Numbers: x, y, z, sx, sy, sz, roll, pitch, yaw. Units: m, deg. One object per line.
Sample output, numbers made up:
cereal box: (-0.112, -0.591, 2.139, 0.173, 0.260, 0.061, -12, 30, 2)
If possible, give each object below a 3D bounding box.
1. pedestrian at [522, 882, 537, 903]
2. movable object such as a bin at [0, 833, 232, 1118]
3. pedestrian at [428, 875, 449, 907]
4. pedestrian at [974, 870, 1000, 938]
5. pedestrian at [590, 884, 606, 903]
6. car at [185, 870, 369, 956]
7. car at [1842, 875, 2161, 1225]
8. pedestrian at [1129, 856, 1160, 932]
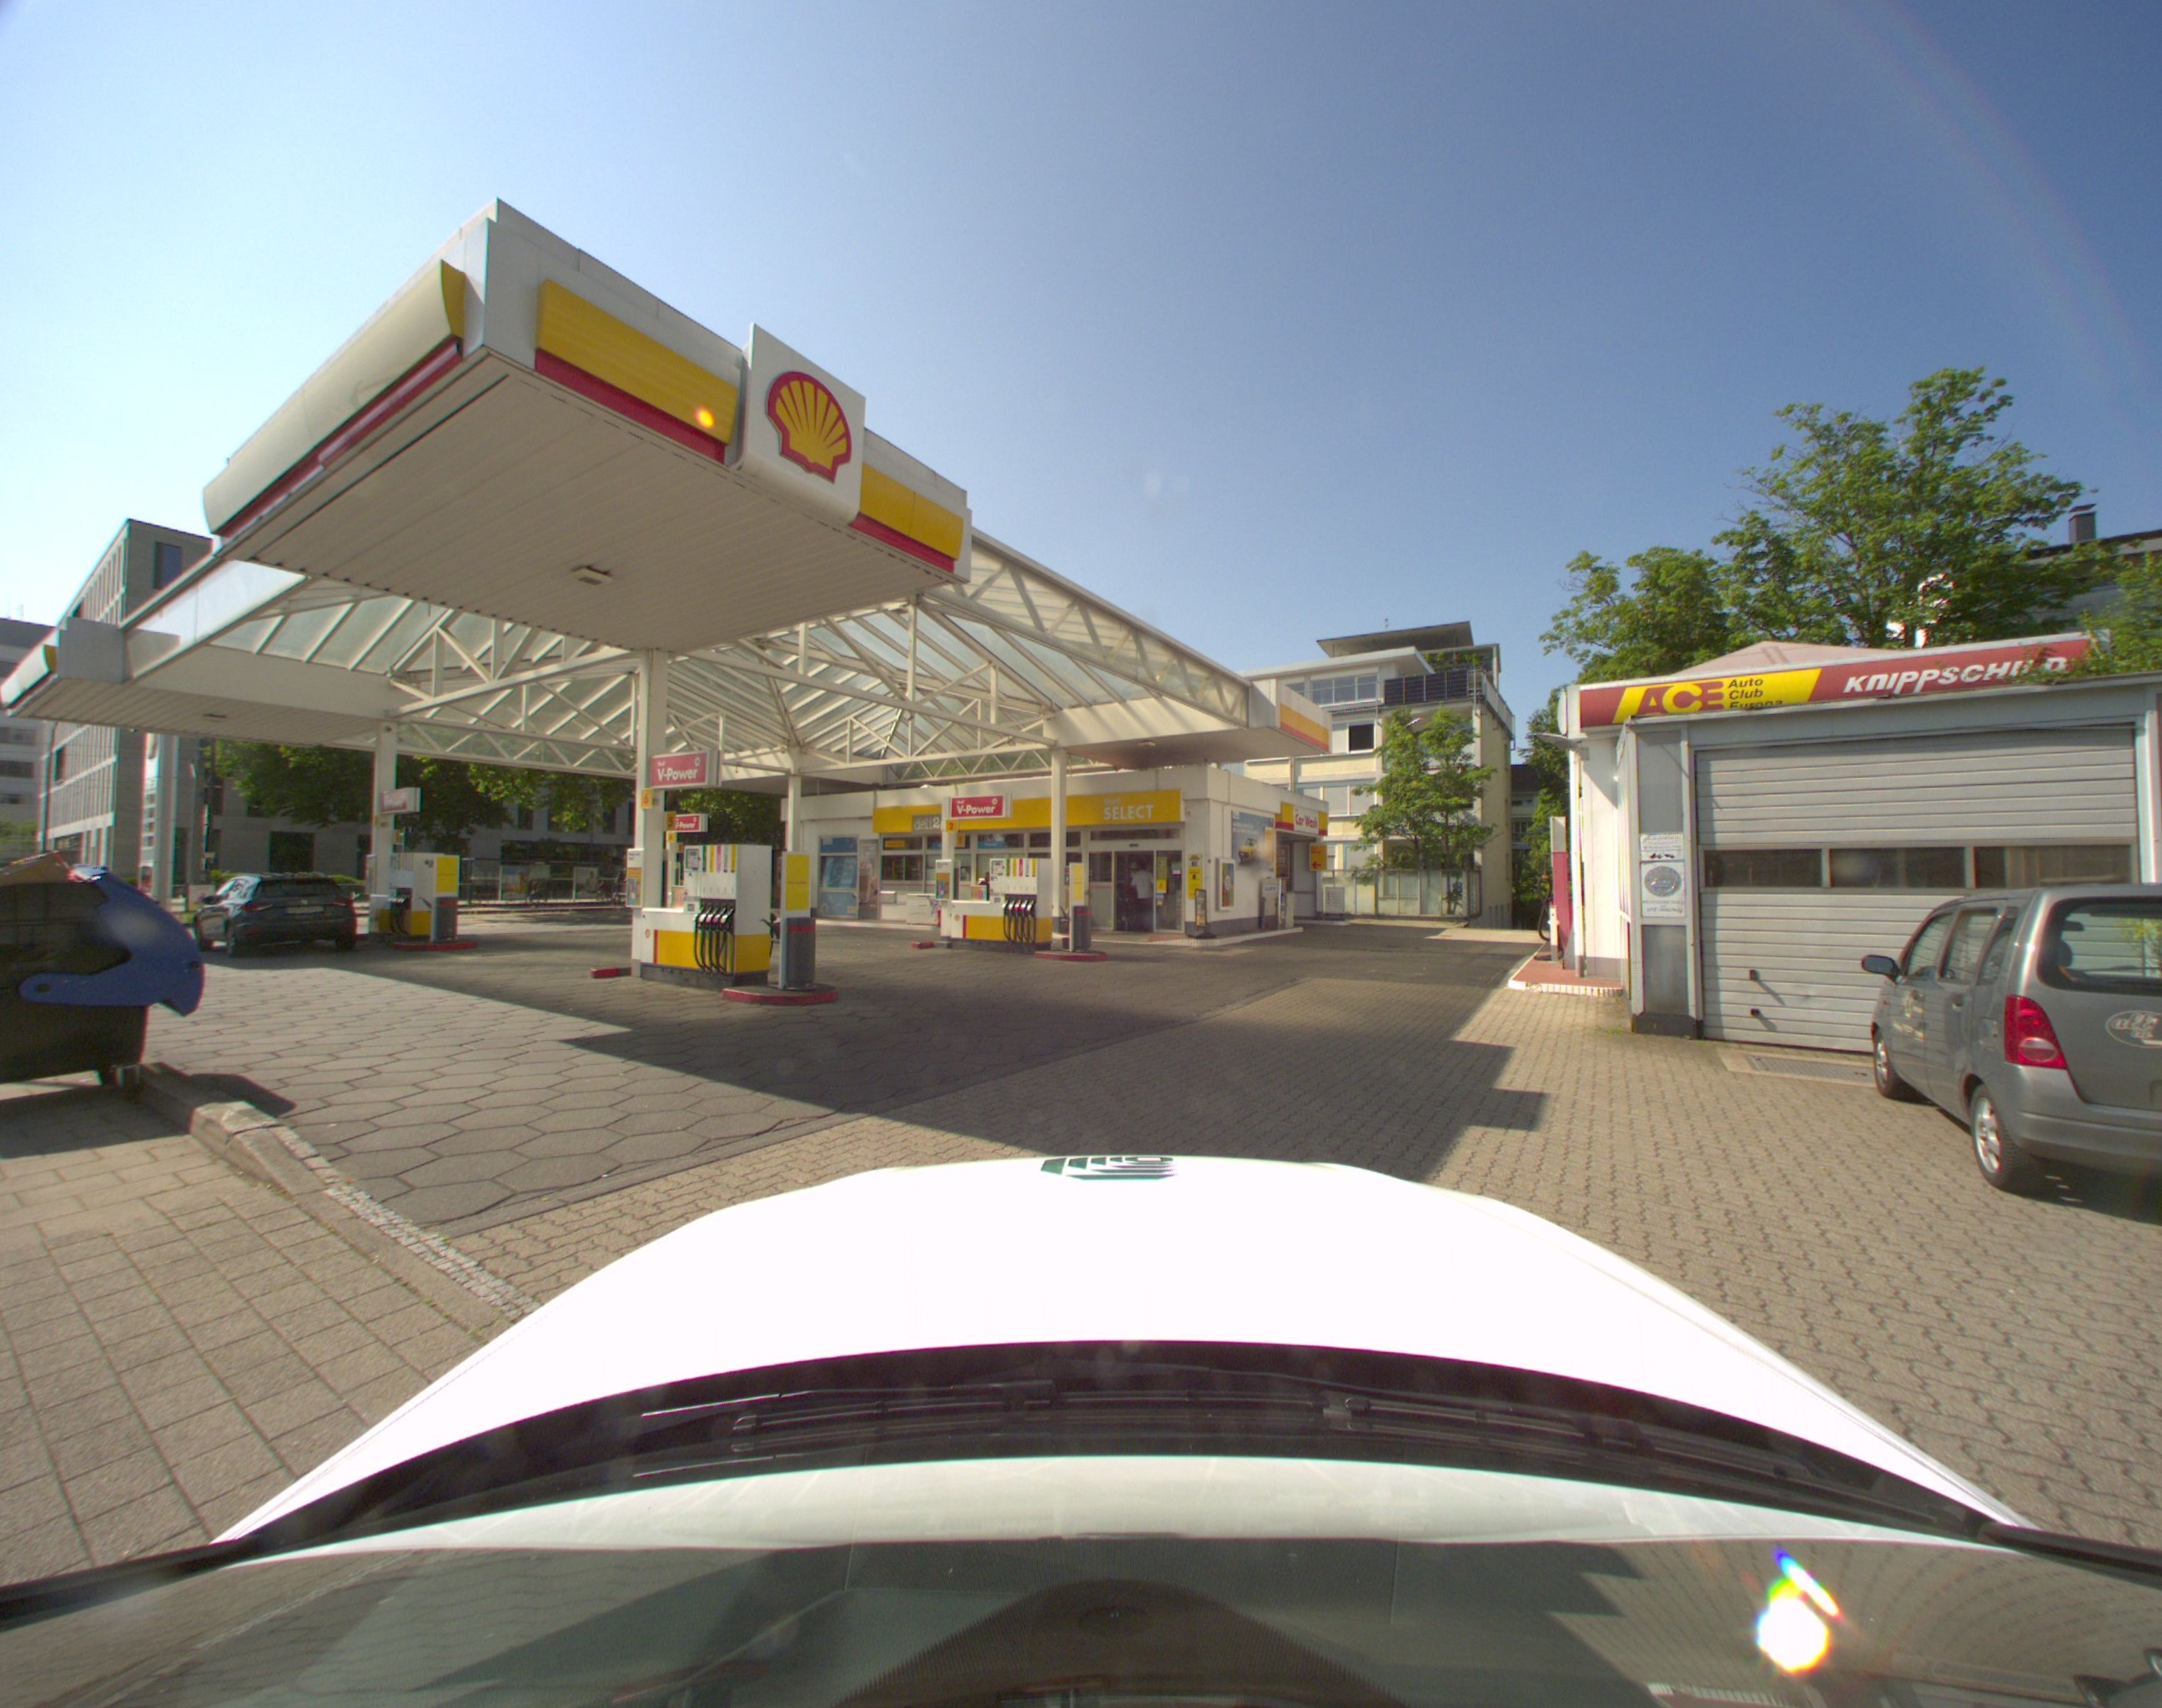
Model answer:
pedestrian: (-30.436, 2.138, 44.948, 0.517, 1.138, 0.503, -1, -3, 39)
movable object such as a bin: (-6.792, 0.730, 5.432, 1.320, 1.688, 1.351, -1, 0, 34)
pedestrian: (-32.619, 1.864, 41.325, 0.661, 1.592, 0.589, 1, -2, 32)
pedestrian: (-2.473, 1.298, 21.448, 0.525, 1.762, 0.575, 0, -3, 9)
pedestrian: (-28.507, 2.326, 48.050, 0.517, 1.138, 0.634, -1, -3, 39)
car: (-16.245, 1.114, 16.421, 3.948, 1.532, 1.760, -2, -2, 32)
car: (6.305, 1.005, 5.144, 1.670, 1.617, 3.685, -1, -4, 35)
pedestrian: (1.735, 1.068, 22.109, 0.616, 2.014, 0.746, -1, -3, 24)
